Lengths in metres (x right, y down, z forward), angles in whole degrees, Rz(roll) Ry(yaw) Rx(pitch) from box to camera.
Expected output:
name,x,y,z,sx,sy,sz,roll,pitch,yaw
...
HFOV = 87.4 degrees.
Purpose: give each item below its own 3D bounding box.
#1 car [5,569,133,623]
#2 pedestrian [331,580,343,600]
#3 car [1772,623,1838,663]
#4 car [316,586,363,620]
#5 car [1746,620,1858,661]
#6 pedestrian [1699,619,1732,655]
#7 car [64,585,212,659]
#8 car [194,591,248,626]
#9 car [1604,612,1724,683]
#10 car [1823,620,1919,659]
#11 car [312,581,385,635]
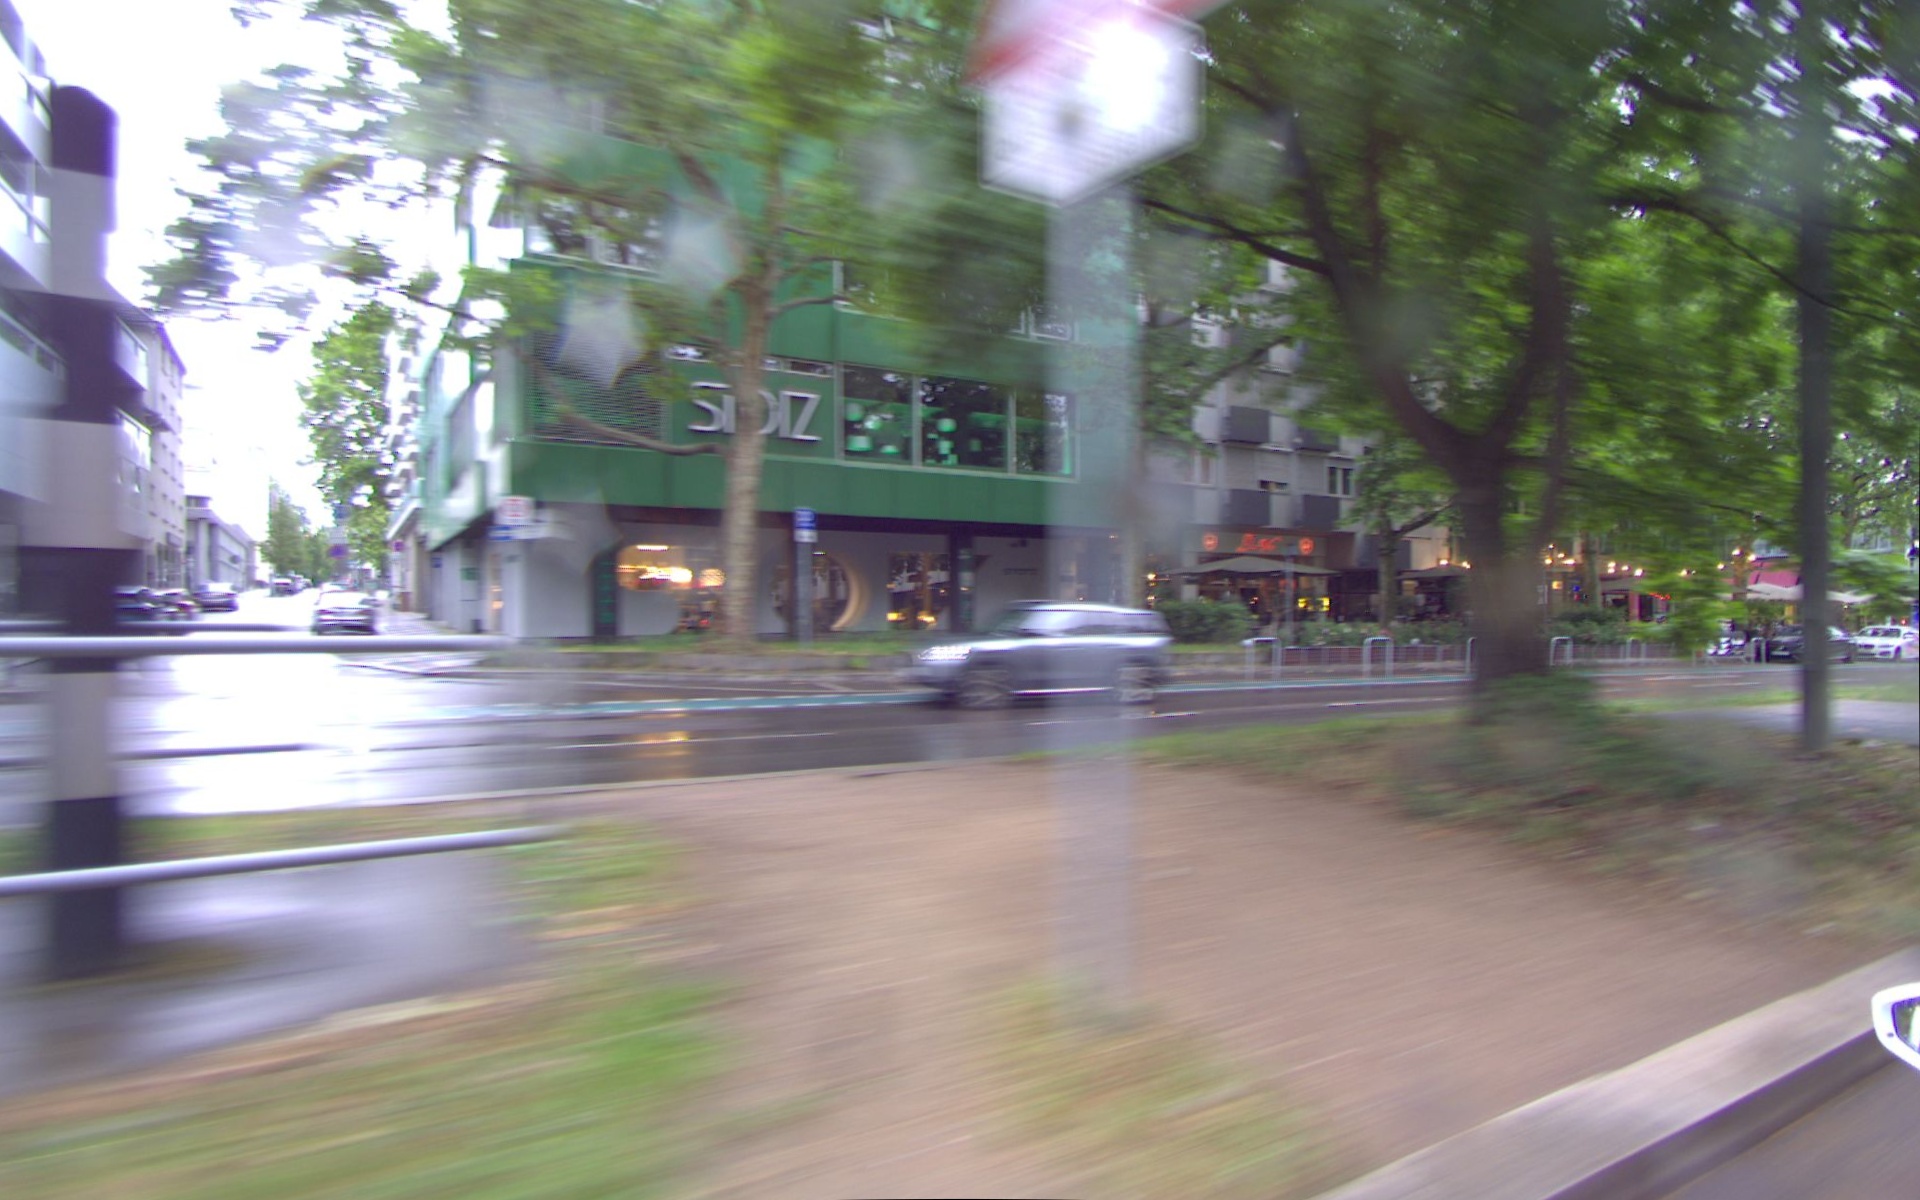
name,x,y,z,sx,sy,sz,roll,pitch,yaw
car,-28.173,-0.067,31.951,1.976,1.561,4.967,1,-1,-29
pedestrian,-50.814,-0.827,81.947,0.549,1.636,0.565,2,0,13
car,30.995,1.546,36.834,2.662,1.406,1.045,1,-1,-30
car,-32.636,0.155,52.802,1.979,1.706,3.963,1,0,-33
car,31.163,1.474,37.152,4.431,1.413,1.816,1,0,-31
pedestrian,30.112,1.483,40.043,0.923,1.398,0.758,1,0,-33
car,-20.927,0.532,25.820,1.975,1.714,4.968,1,-1,-28
car,-37.660,0.438,51.270,1.979,1.706,3.963,1,0,-33
car,18.119,1.145,25.778,4.410,1.648,1.702,1,0,-44
car,37.104,1.574,40.643,4.487,1.388,1.983,1,2,-31
car,-20.835,0.248,34.151,1.979,1.706,3.963,1,0,-33
